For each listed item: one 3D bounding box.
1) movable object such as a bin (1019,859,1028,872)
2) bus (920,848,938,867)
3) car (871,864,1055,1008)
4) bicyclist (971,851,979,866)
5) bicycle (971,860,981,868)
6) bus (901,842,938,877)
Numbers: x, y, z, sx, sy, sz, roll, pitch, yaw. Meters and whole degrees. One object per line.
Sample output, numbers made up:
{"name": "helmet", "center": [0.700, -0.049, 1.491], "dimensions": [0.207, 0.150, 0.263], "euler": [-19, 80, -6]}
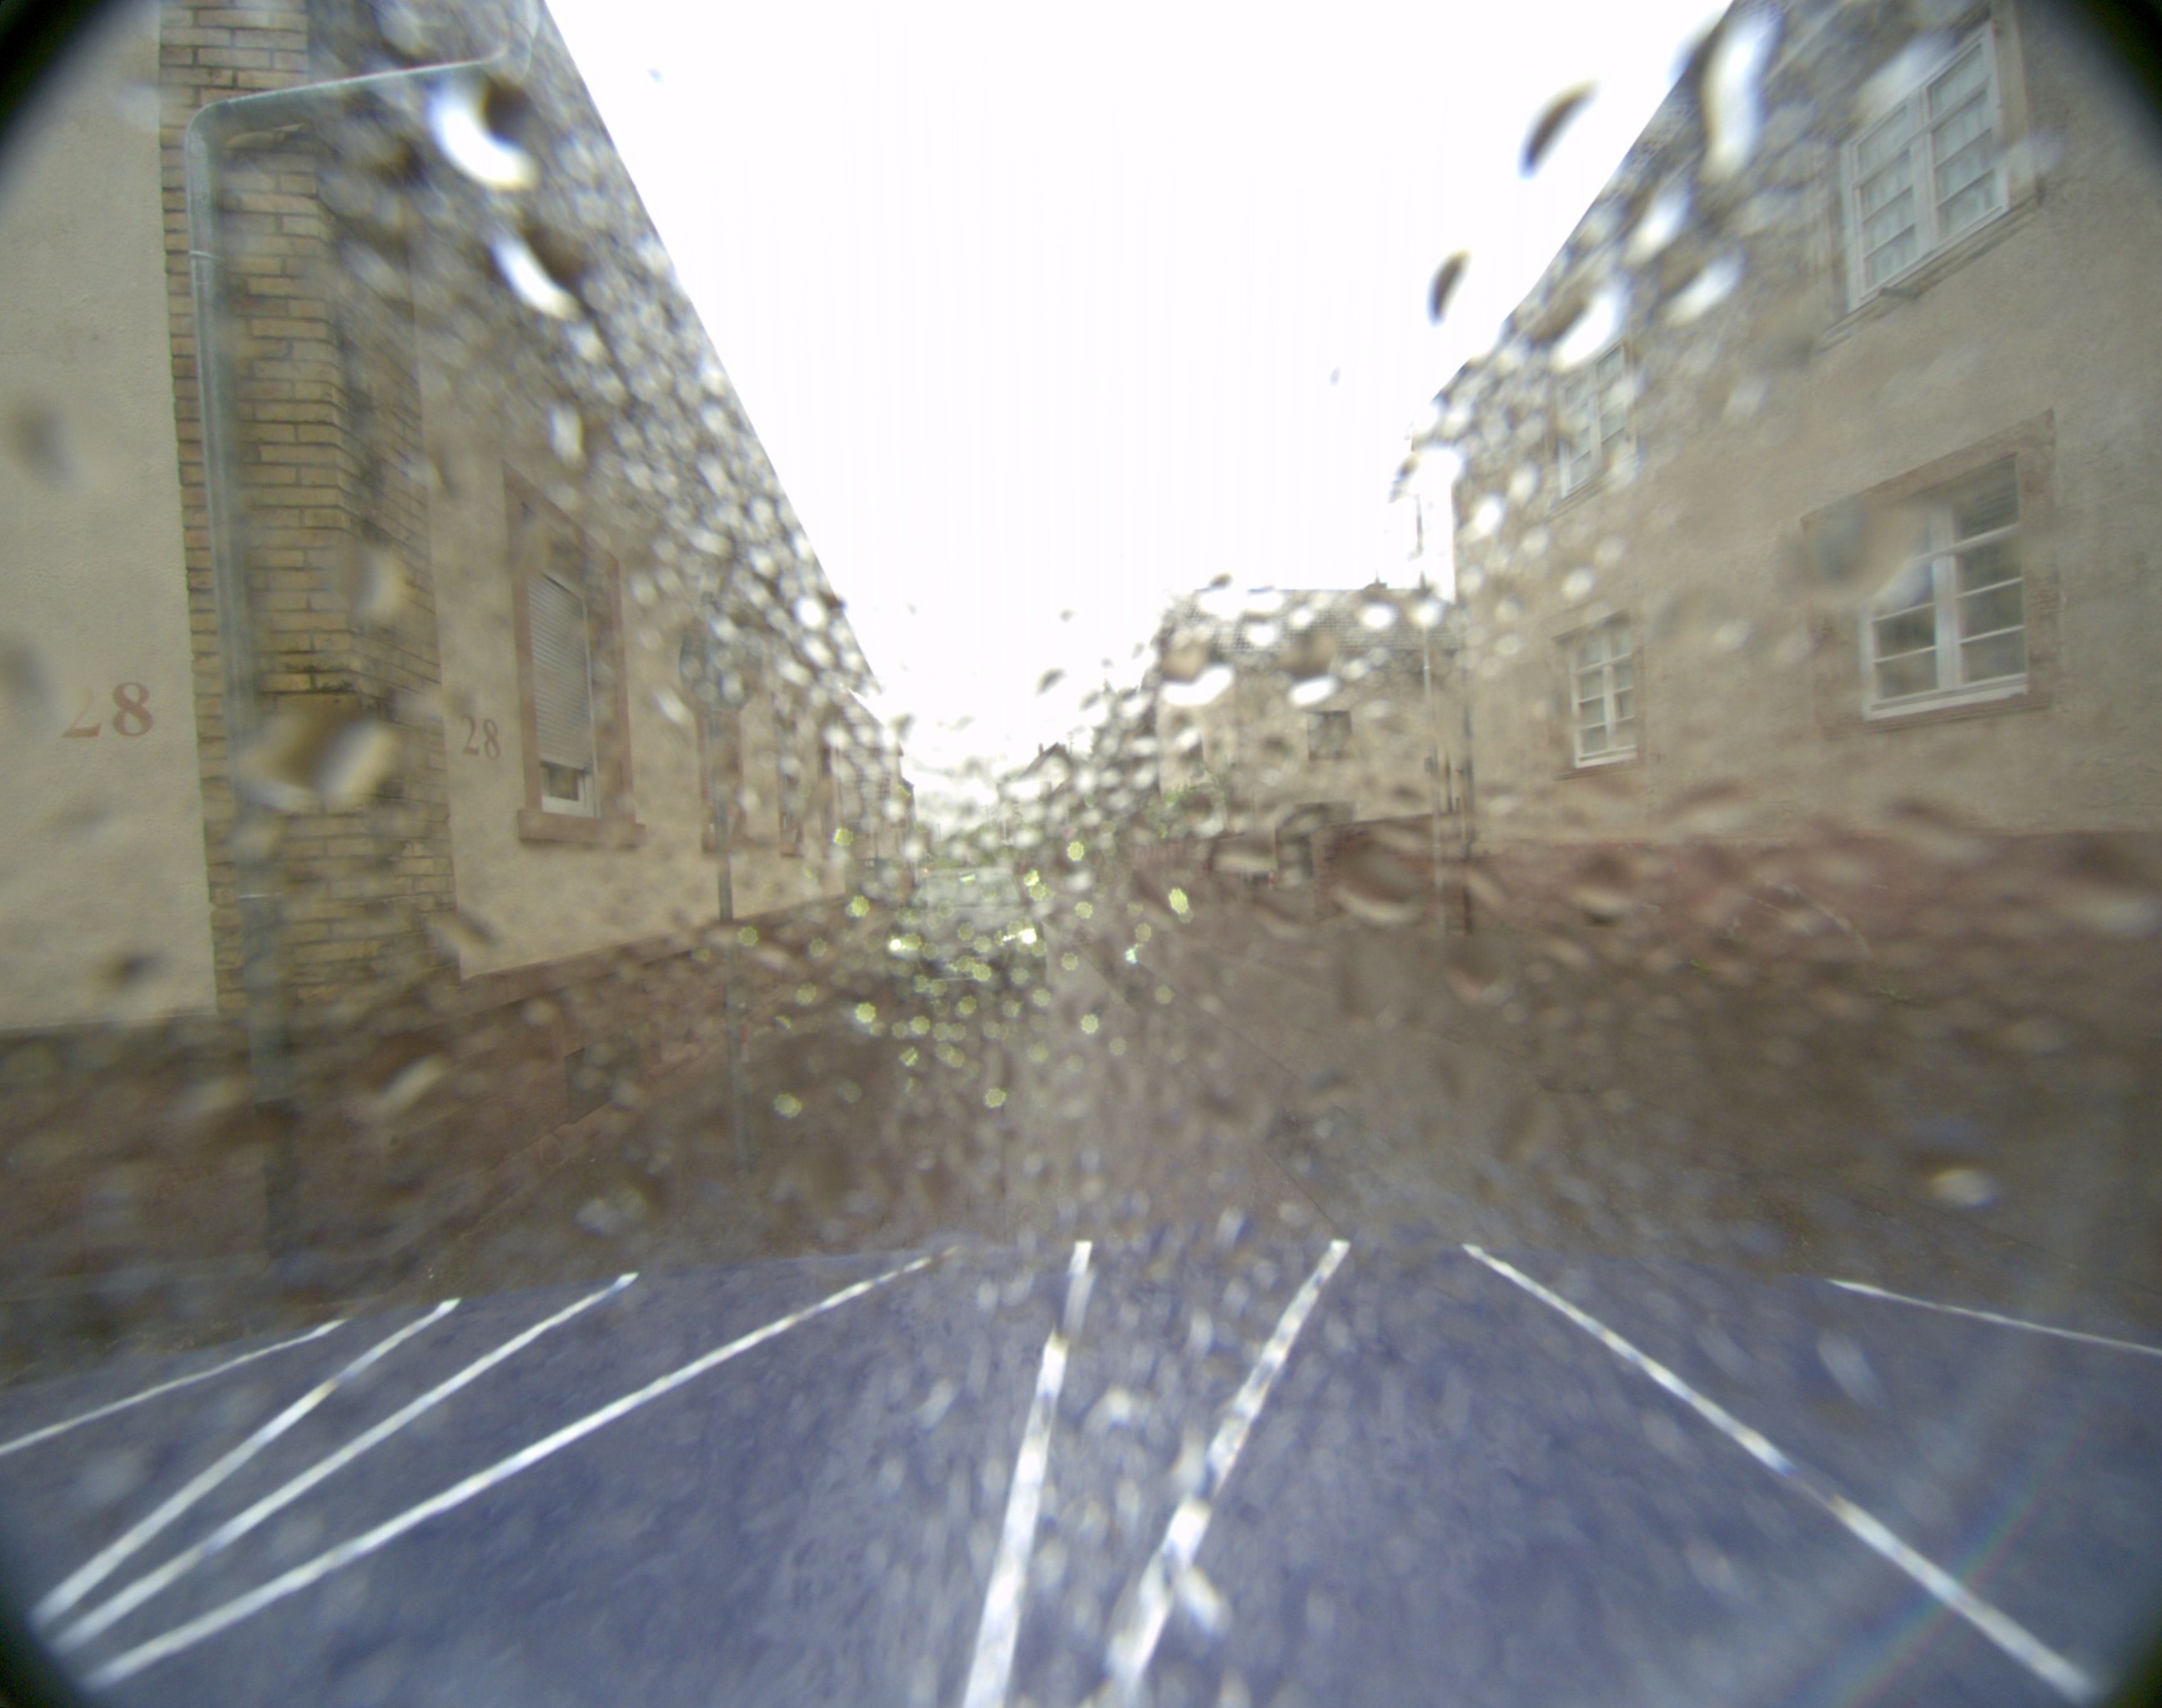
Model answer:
{"name": "movable object such as a bin", "center": [-4.543, 0.887, 59.616], "dimensions": [0.540, 0.925, 0.543], "euler": [-5, 2, -17]}
{"name": "bus", "center": [-27.527, 0.634, 137.631], "dimensions": [2.816, 2.922, 11.930], "euler": [-5, 1, -11]}
{"name": "car", "center": [-1.562, 0.912, 9.861], "dimensions": [1.781, 1.348, 4.186], "euler": [-3, -2, -10]}
{"name": "bicyclist", "center": [-12.276, 0.533, 88.235], "dimensions": [0.659, 1.759, 0.702], "euler": [-5, -1, -18]}
{"name": "bicycle", "center": [-12.222, 1.194, 88.339], "dimensions": [0.664, 0.865, 1.932], "euler": [-5, -1, -18]}
{"name": "bus", "center": [-18.388, 0.608, 85.887], "dimensions": [3.444, 3.392, 13.854], "euler": [-4, 1, -14]}
